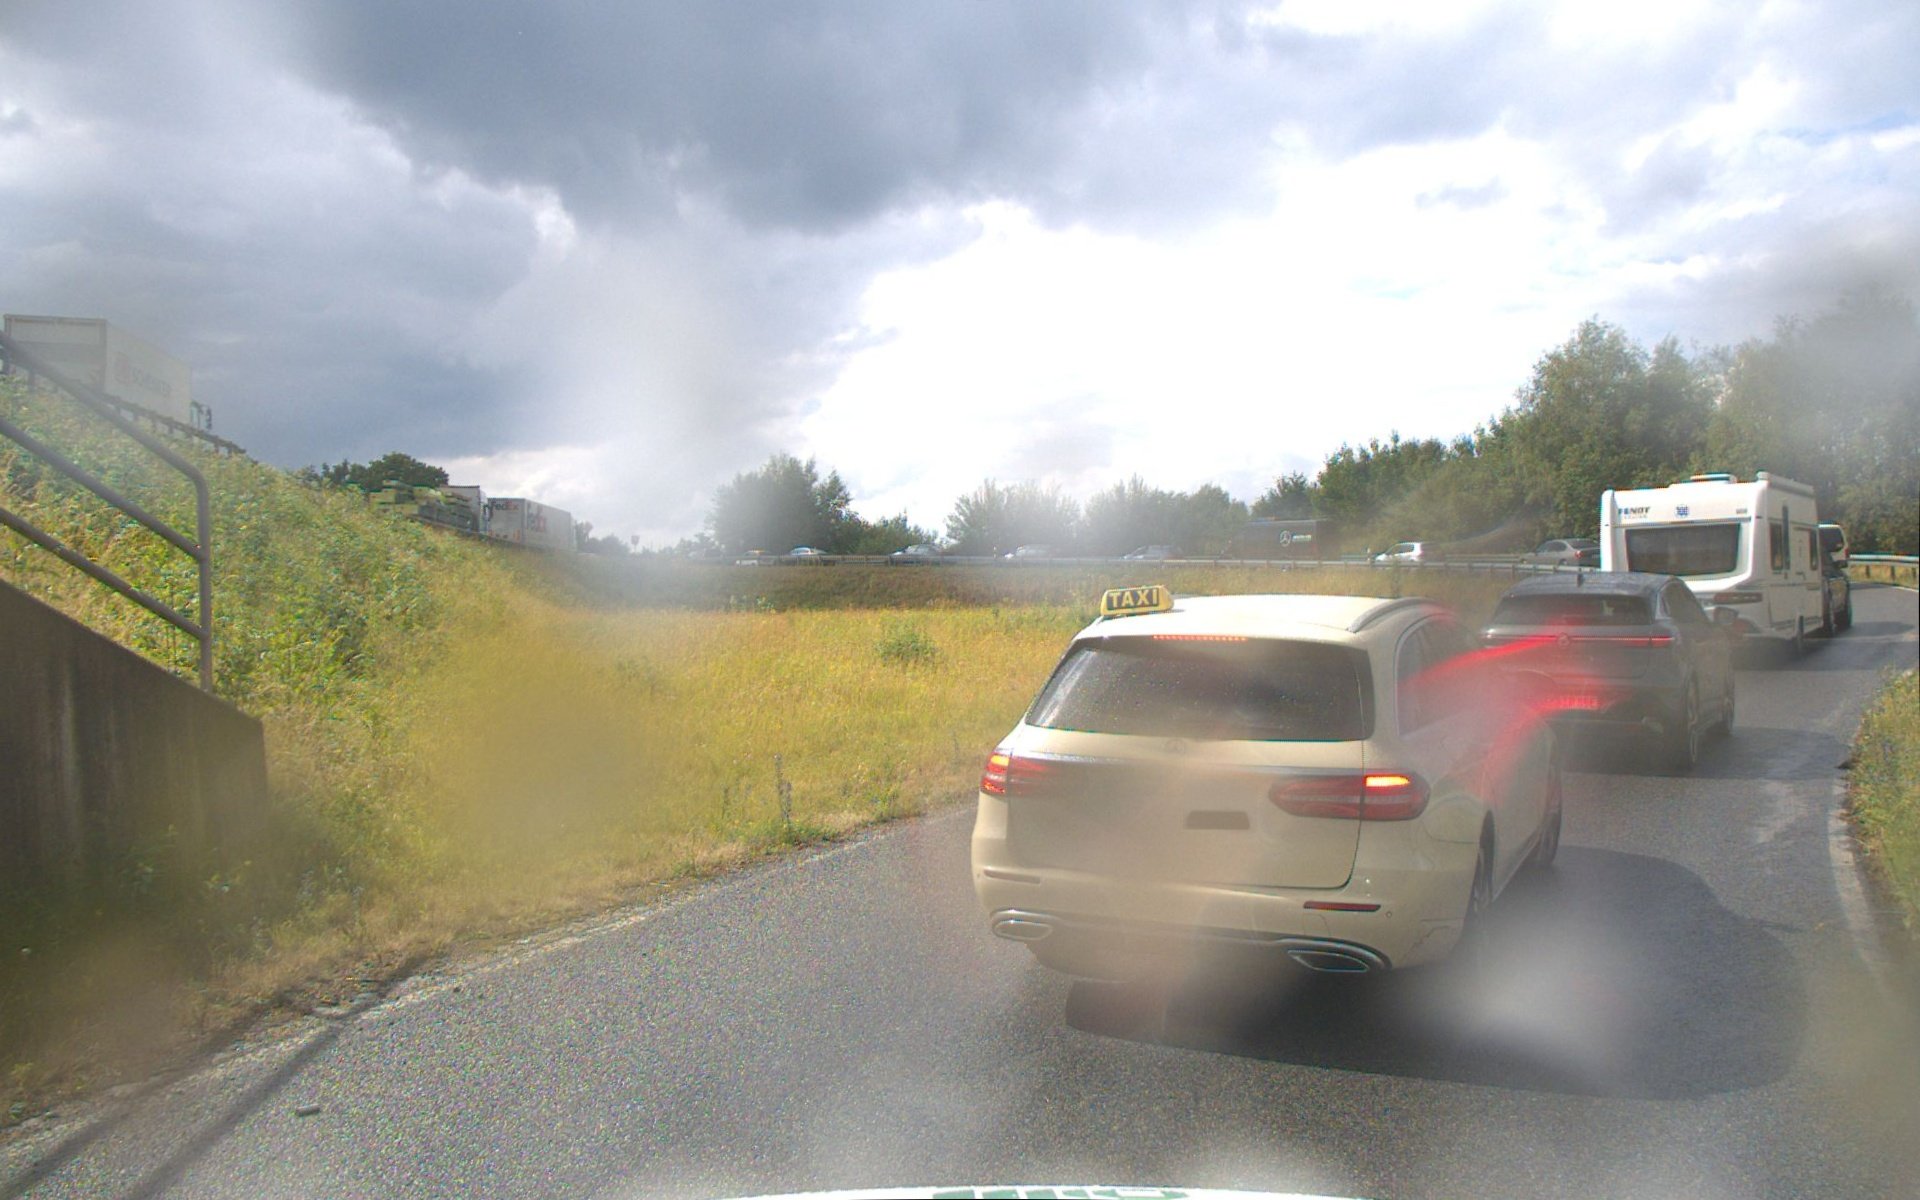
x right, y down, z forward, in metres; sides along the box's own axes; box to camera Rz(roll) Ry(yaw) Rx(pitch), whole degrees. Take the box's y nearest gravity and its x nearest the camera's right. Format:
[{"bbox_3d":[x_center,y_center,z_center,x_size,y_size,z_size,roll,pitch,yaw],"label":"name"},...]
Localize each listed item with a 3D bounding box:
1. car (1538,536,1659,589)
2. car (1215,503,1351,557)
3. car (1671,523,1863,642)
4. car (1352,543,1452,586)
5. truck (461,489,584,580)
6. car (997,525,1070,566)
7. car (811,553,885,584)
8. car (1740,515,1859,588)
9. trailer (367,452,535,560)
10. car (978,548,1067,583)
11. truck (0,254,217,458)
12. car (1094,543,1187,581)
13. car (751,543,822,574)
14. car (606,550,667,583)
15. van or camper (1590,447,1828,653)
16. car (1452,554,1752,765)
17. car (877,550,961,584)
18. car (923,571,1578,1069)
[{"bbox_3d":[25.689,-1.478,66.742,1.960,1.894,5.038,-2,-1,-14],"label":"car"},{"bbox_3d":[17.101,-3.675,87.922,2.847,2.640,6.886,-2,1,-39],"label":"car"},{"bbox_3d":[14.898,-0.377,30.330,2.386,1.959,5.743,0,2,34],"label":"car"},{"bbox_3d":[21.505,-1.704,80.682,1.968,1.894,5.018,-1,-1,-24],"label":"car"},{"bbox_3d":[-29.027,-4.130,111.081,4.372,4.582,19.357,0,-2,-4],"label":"truck"},{"bbox_3d":[4.443,-3.283,99.871,3.916,2.049,1.994,-4,-5,33],"label":"car"},{"bbox_3d":[-7.400,-2.063,109.225,4.404,1.894,2.000,-2,-1,22],"label":"car"},{"bbox_3d":[24.276,-1.342,48.012,1.951,1.894,5.061,-2,-1,14],"label":"car"},{"bbox_3d":[-27.676,-4.901,91.649,4.326,4.025,20.199,0,-2,-4],"label":"trailer"},{"bbox_3d":[3.774,-2.062,99.907,4.946,1.894,1.997,-2,-1,30],"label":"car"},{"bbox_3d":[-23.971,-6.590,46.599,3.121,4.036,9.216,0,-2,-9],"label":"truck"},{"bbox_3d":[10.313,-2.150,94.790,4.958,1.894,1.992,-2,-1,38],"label":"car"},{"bbox_3d":[-12.113,-2.890,115.442,4.959,1.894,1.991,-2,-1,38],"label":"car"},{"bbox_3d":[-21.439,-2.205,109.803,3.914,2.049,1.822,0,-2,-10],"label":"car"},{"bbox_3d":[11.645,-0.666,25.432,2.388,2.777,5.982,0,0,34],"label":"van or camper"},{"bbox_3d":[5.666,0.469,14.309,1.687,1.551,3.990,-2,-1,32],"label":"car"},{"bbox_3d":[-2.595,-2.042,103.990,4.946,1.894,1.997,-2,-1,30],"label":"car"},{"bbox_3d":[1.669,0.639,7.578,1.878,1.533,4.593,0,1,24],"label":"car"}]
